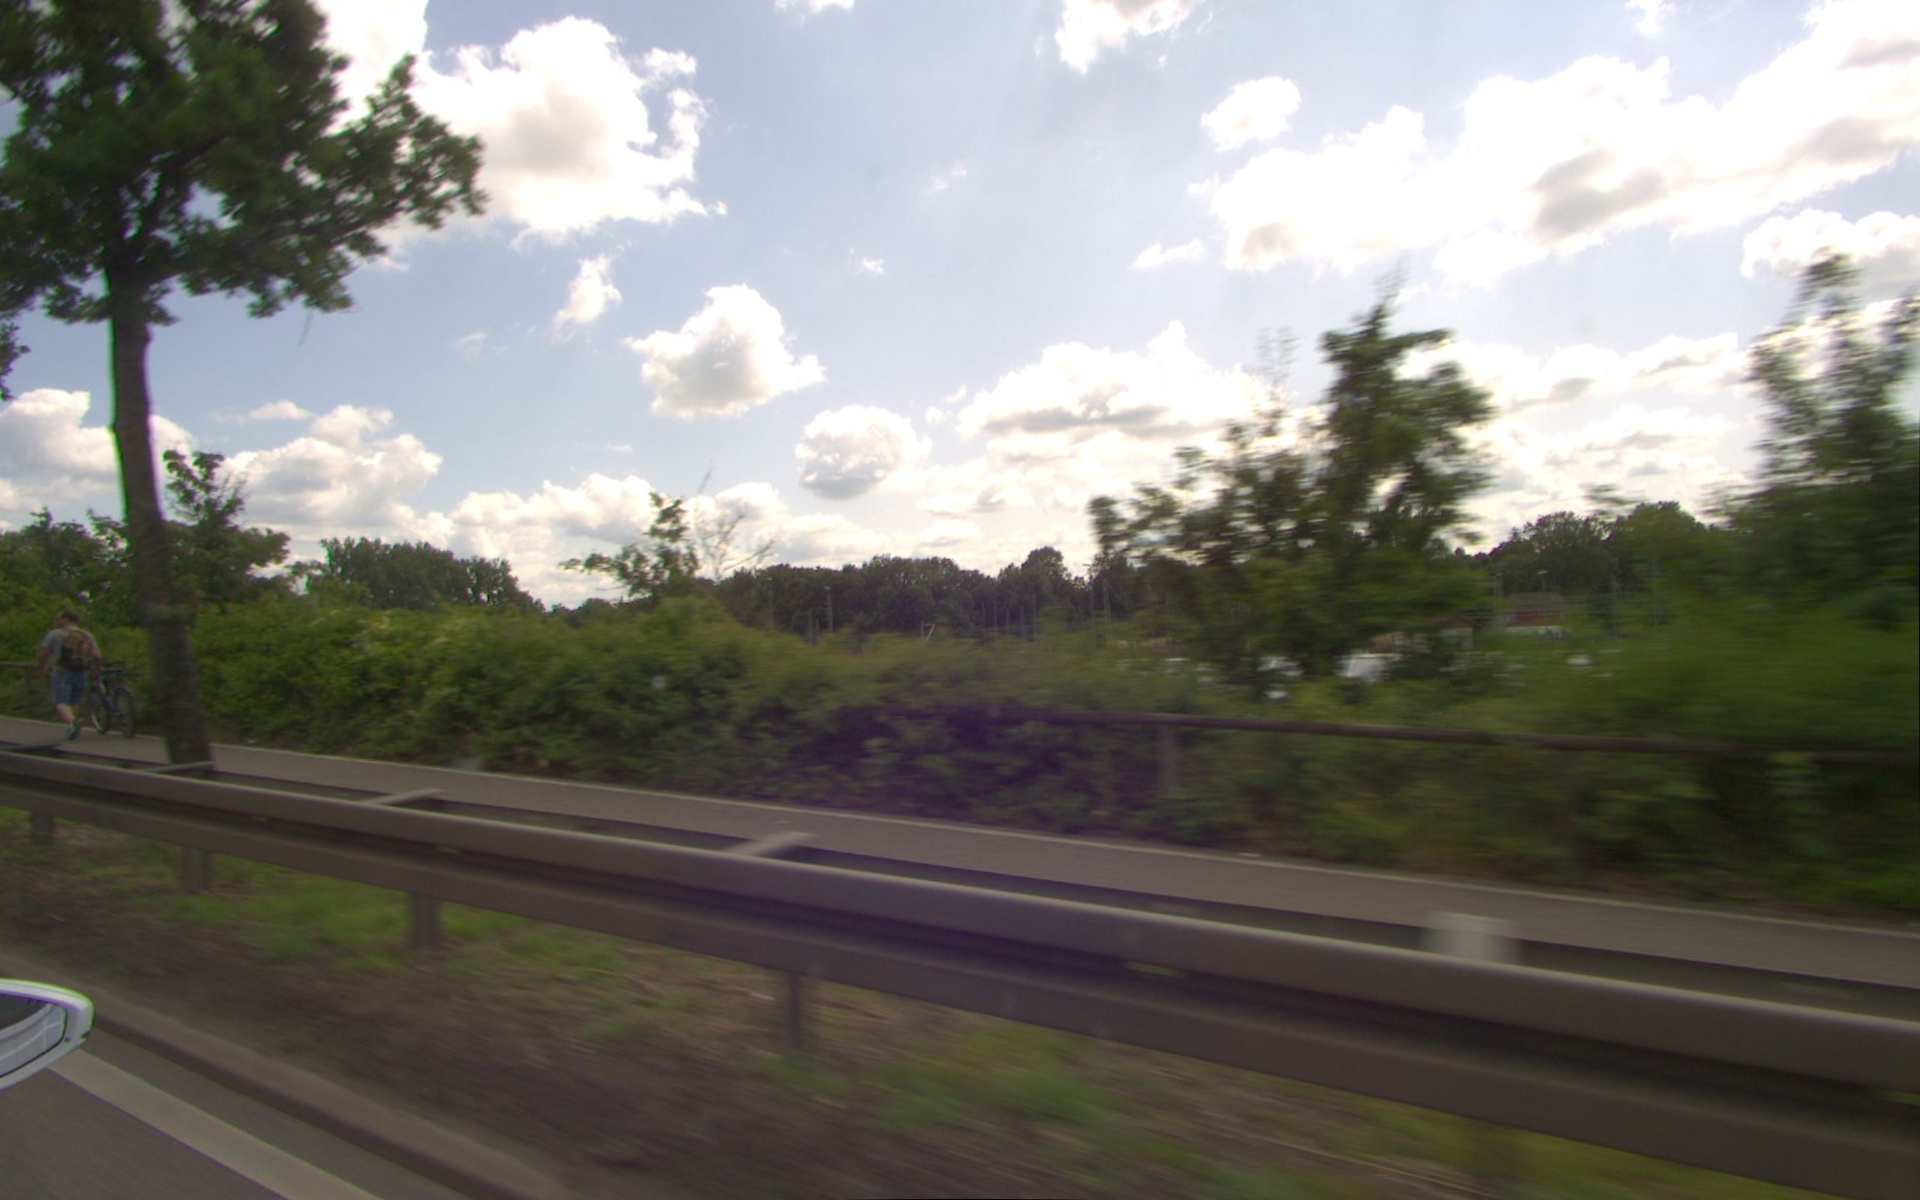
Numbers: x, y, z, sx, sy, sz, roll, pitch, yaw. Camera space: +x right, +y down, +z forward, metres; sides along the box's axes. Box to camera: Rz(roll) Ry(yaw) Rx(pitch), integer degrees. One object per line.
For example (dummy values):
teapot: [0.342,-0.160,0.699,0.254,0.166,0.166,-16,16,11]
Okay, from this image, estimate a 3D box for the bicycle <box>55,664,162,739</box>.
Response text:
bicycle: [-11.366,1.329,13.348,1.799,0.881,0.555,-1,1,32]

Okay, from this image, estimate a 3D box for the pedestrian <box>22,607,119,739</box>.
pedestrian: [-11.735,0.932,13.208,1.039,1.664,0.655,-1,1,32]
